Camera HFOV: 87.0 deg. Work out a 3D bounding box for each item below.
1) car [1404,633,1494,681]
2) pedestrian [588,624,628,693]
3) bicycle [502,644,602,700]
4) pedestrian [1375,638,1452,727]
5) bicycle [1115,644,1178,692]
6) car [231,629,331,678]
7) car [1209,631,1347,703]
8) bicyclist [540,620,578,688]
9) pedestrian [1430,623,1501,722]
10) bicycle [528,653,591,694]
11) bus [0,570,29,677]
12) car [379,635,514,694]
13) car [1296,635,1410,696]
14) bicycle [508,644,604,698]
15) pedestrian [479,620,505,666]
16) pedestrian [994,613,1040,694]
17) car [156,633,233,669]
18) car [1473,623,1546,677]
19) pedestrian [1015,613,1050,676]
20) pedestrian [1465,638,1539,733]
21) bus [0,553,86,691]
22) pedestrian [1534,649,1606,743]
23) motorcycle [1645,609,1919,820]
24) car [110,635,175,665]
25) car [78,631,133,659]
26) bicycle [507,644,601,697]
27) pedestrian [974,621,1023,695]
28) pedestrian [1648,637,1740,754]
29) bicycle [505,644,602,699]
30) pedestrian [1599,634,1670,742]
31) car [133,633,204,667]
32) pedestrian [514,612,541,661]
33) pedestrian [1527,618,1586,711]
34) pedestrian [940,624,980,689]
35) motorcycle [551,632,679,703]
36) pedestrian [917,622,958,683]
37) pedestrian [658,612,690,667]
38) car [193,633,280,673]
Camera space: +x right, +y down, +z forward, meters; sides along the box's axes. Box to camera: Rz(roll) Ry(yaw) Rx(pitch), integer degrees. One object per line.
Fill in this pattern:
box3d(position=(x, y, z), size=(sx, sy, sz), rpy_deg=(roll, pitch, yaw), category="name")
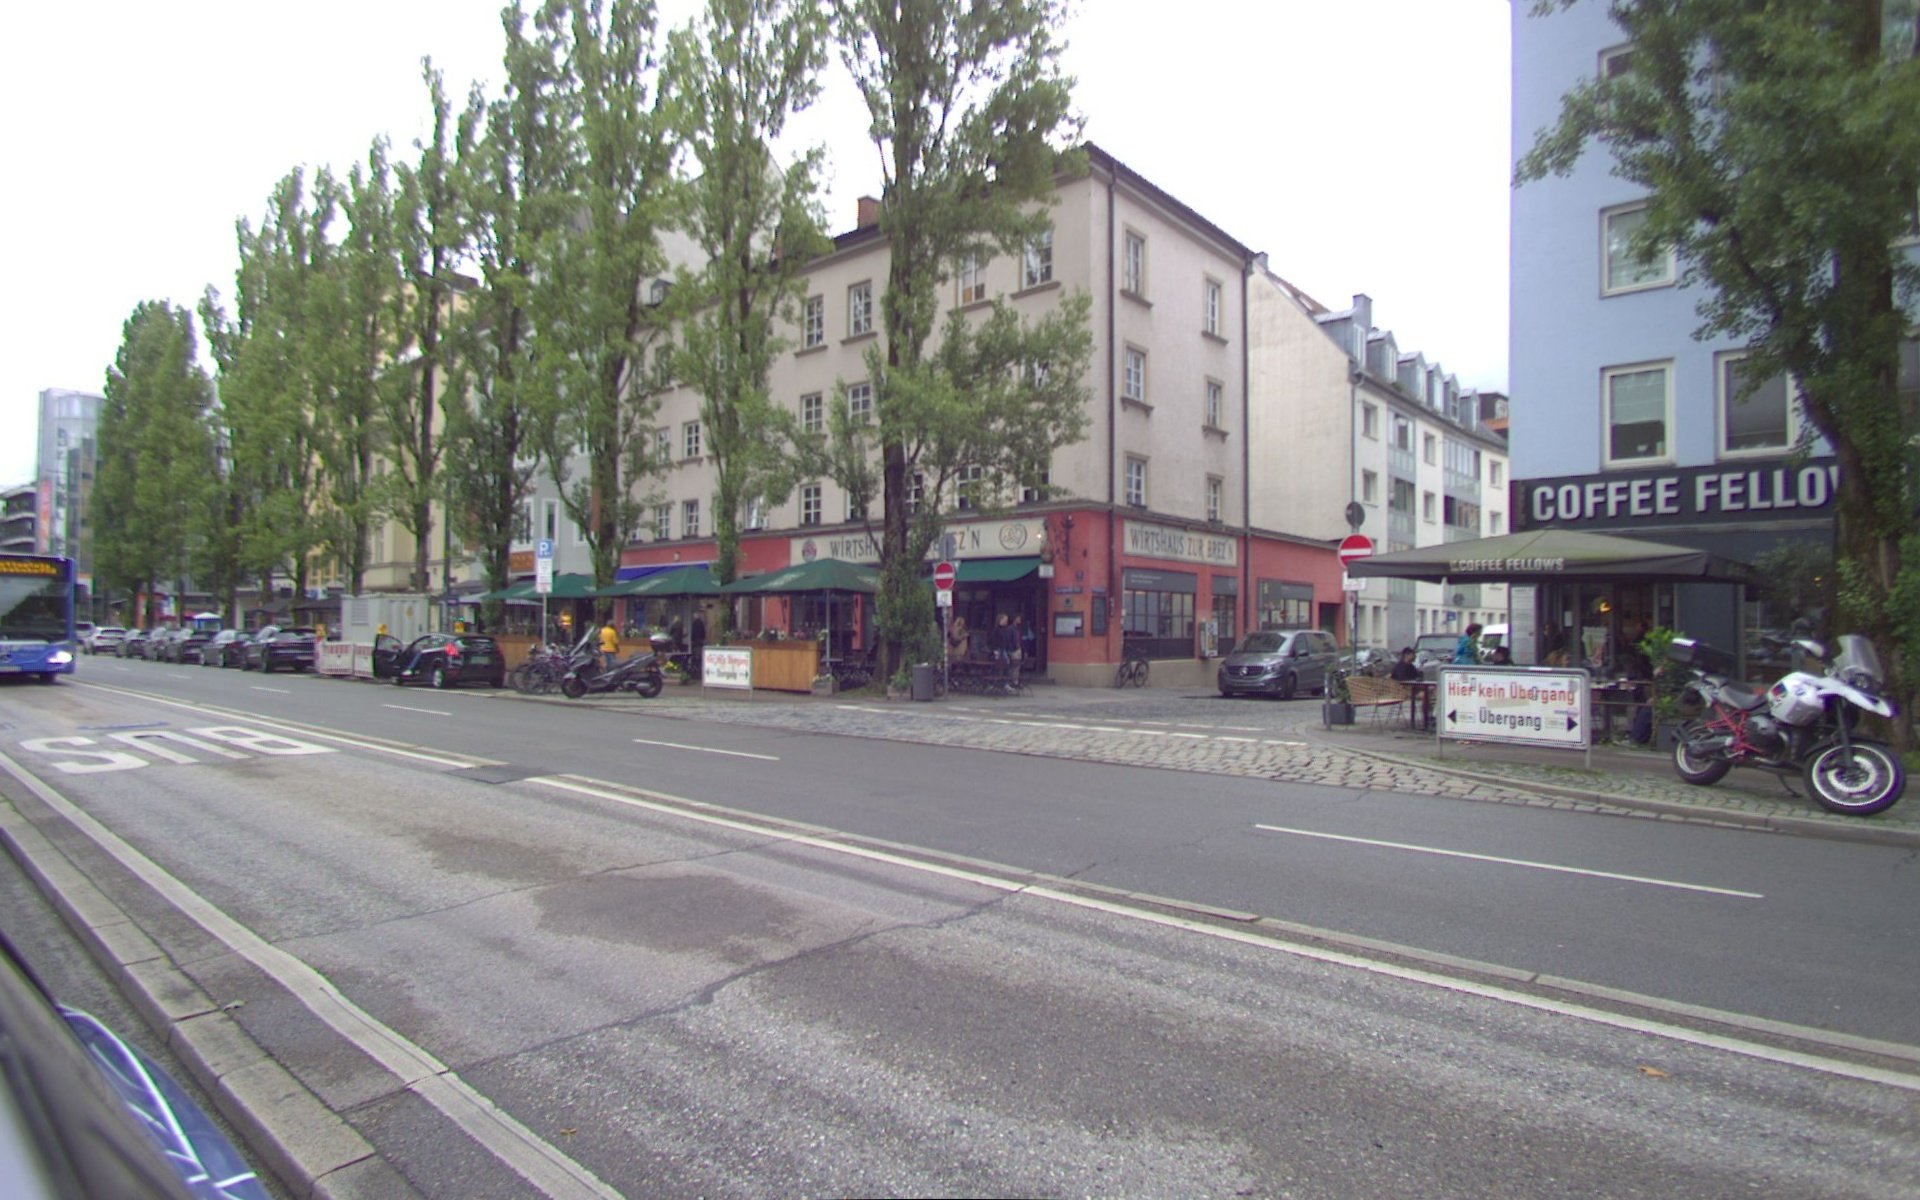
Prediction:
box3d(position=(19.103, 2.216, 39.425), size=(2.116, 1.780, 4.525), rpy_deg=(-2, -4, 40), category="car")
box3d(position=(-9.135, 1.504, 26.265), size=(0.699, 1.739, 0.722), rpy_deg=(-2, -3, 39), category="pedestrian")
box3d(position=(-8.796, 1.551, 21.867), size=(1.949, 1.134, 0.362), rpy_deg=(-1, 0, -12), category="bicycle")
box3d(position=(7.293, 1.304, 16.287), size=(0.950, 1.373, 0.690), rpy_deg=(-2, -3, 44), category="pedestrian")
box3d(position=(4.988, 1.786, 26.933), size=(0.645, 1.214, 2.317), rpy_deg=(-2, -3, 39), category="bicycle")
box3d(position=(-23.846, 1.834, 35.487), size=(4.572, 1.625, 1.778), rpy_deg=(-2, -3, 42), category="car")
box3d(position=(8.698, 1.775, 27.433), size=(1.982, 1.780, 4.525), rpy_deg=(-2, -4, 40), category="car")
box3d(position=(-10.316, 1.368, 26.041), size=(0.816, 1.718, 0.598), rpy_deg=(-1, -2, 42), category="bicyclist")
box3d(position=(8.732, 1.230, 17.494), size=(0.950, 1.659, 0.690), rpy_deg=(-2, -3, 41), category="pedestrian")
box3d(position=(-10.323, 1.880, 26.036), size=(2.173, 0.976, 0.605), rpy_deg=(-2, -2, 42), category="bicycle")
box3d(position=(-31.036, 0.732, 30.941), size=(10.046, 2.972, 2.655), rpy_deg=(-1, -2, 41), category="bus")
box3d(position=(-13.666, 1.669, 26.854), size=(3.780, 1.433, 1.739), rpy_deg=(-1, -3, 38), category="car")
box3d(position=(12.397, 2.039, 31.802), size=(1.982, 1.780, 4.525), rpy_deg=(-2, -4, 40), category="car")
box3d(position=(-8.950, 1.560, 22.474), size=(1.949, 1.134, 0.283), rpy_deg=(-1, 0, -12), category="bicycle")
box3d(position=(-19.896, 1.822, 43.052), size=(0.905, 1.941, 0.690), rpy_deg=(-2, -3, 44), category="pedestrian")
box3d(position=(1.392, 1.298, 24.880), size=(0.905, 1.941, 0.690), rpy_deg=(-2, -3, 44), category="pedestrian")
box3d(position=(-33.159, 2.180, 43.806), size=(4.572, 1.451, 1.778), rpy_deg=(-2, -3, 42), category="car")
box3d(position=(25.489, 2.322, 46.902), size=(1.982, 2.384, 4.523), rpy_deg=(-2, -4, 42), category="car")
box3d(position=(1.951, 1.185, 27.087), size=(0.695, 1.659, 0.922), rpy_deg=(0, -2, 22), category="pedestrian")
box3d(position=(8.158, 1.262, 15.234), size=(0.819, 1.373, 0.690), rpy_deg=(-2, -3, 44), category="pedestrian")
box3d(position=(-24.528, 0.576, 25.263), size=(10.046, 2.972, 2.661), rpy_deg=(-1, -2, 41), category="bus")
box3d(position=(8.137, 1.254, 13.498), size=(0.699, 1.192, 0.807), rpy_deg=(-2, -3, 39), category="pedestrian")
box3d(position=(7.137, 0.879, 8.775), size=(0.704, 1.575, 2.348), rpy_deg=(-1, -1, -2), category="motorcycle")
box3d(position=(-41.318, 2.513, 51.101), size=(4.572, 1.451, 1.778), rpy_deg=(-2, -3, 42), category="car")
box3d(position=(-49.121, 2.574, 58.152), size=(4.103, 1.590, 1.778), rpy_deg=(-2, -3, 42), category="car")
box3d(position=(-9.278, 1.604, 23.156), size=(1.949, 1.134, 0.343), rpy_deg=(-1, 0, -12), category="bicycle")
box3d(position=(0.918, 1.383, 24.288), size=(0.950, 1.735, 0.690), rpy_deg=(-2, -3, 44), category="pedestrian")
box3d(position=(9.002, 1.137, 12.413), size=(0.847, 1.373, 0.690), rpy_deg=(-2, -3, 40), category="pedestrian")
box3d(position=(-8.890, 1.565, 22.196), size=(1.949, 1.134, 0.283), rpy_deg=(-1, 0, -12), category="bicycle")
box3d(position=(8.951, 1.142, 13.437), size=(0.699, 1.373, 0.706), rpy_deg=(-2, -3, 39), category="pedestrian")
box3d(position=(-37.110, 2.316, 47.409), size=(4.572, 1.515, 1.778), rpy_deg=(-2, -3, 42), category="car")
box3d(position=(-17.557, 1.479, 41.113), size=(0.905, 1.941, 0.690), rpy_deg=(-2, -3, 44), category="pedestrian")
box3d(position=(11.841, 1.264, 20.107), size=(0.692, 1.786, 0.947), rpy_deg=(0, -2, 10), category="pedestrian")
box3d(position=(0.004, 1.423, 25.735), size=(0.732, 1.636, 0.690), rpy_deg=(-2, -3, 44), category="pedestrian")
box3d(position=(-7.132, 1.386, 20.963), size=(2.426, 1.425, 0.744), rpy_deg=(0, -2, 8), category="motorcycle")
box3d(position=(-0.616, 1.425, 27.769), size=(0.689, 1.659, 0.930), rpy_deg=(2, -3, -44), category="pedestrian")
box3d(position=(-10.126, 1.397, 35.842), size=(0.905, 1.941, 0.690), rpy_deg=(-2, -3, 44), category="pedestrian")
box3d(position=(-28.238, 2.030, 39.443), size=(4.572, 1.451, 1.778), rpy_deg=(-2, -3, 42), category="car")
